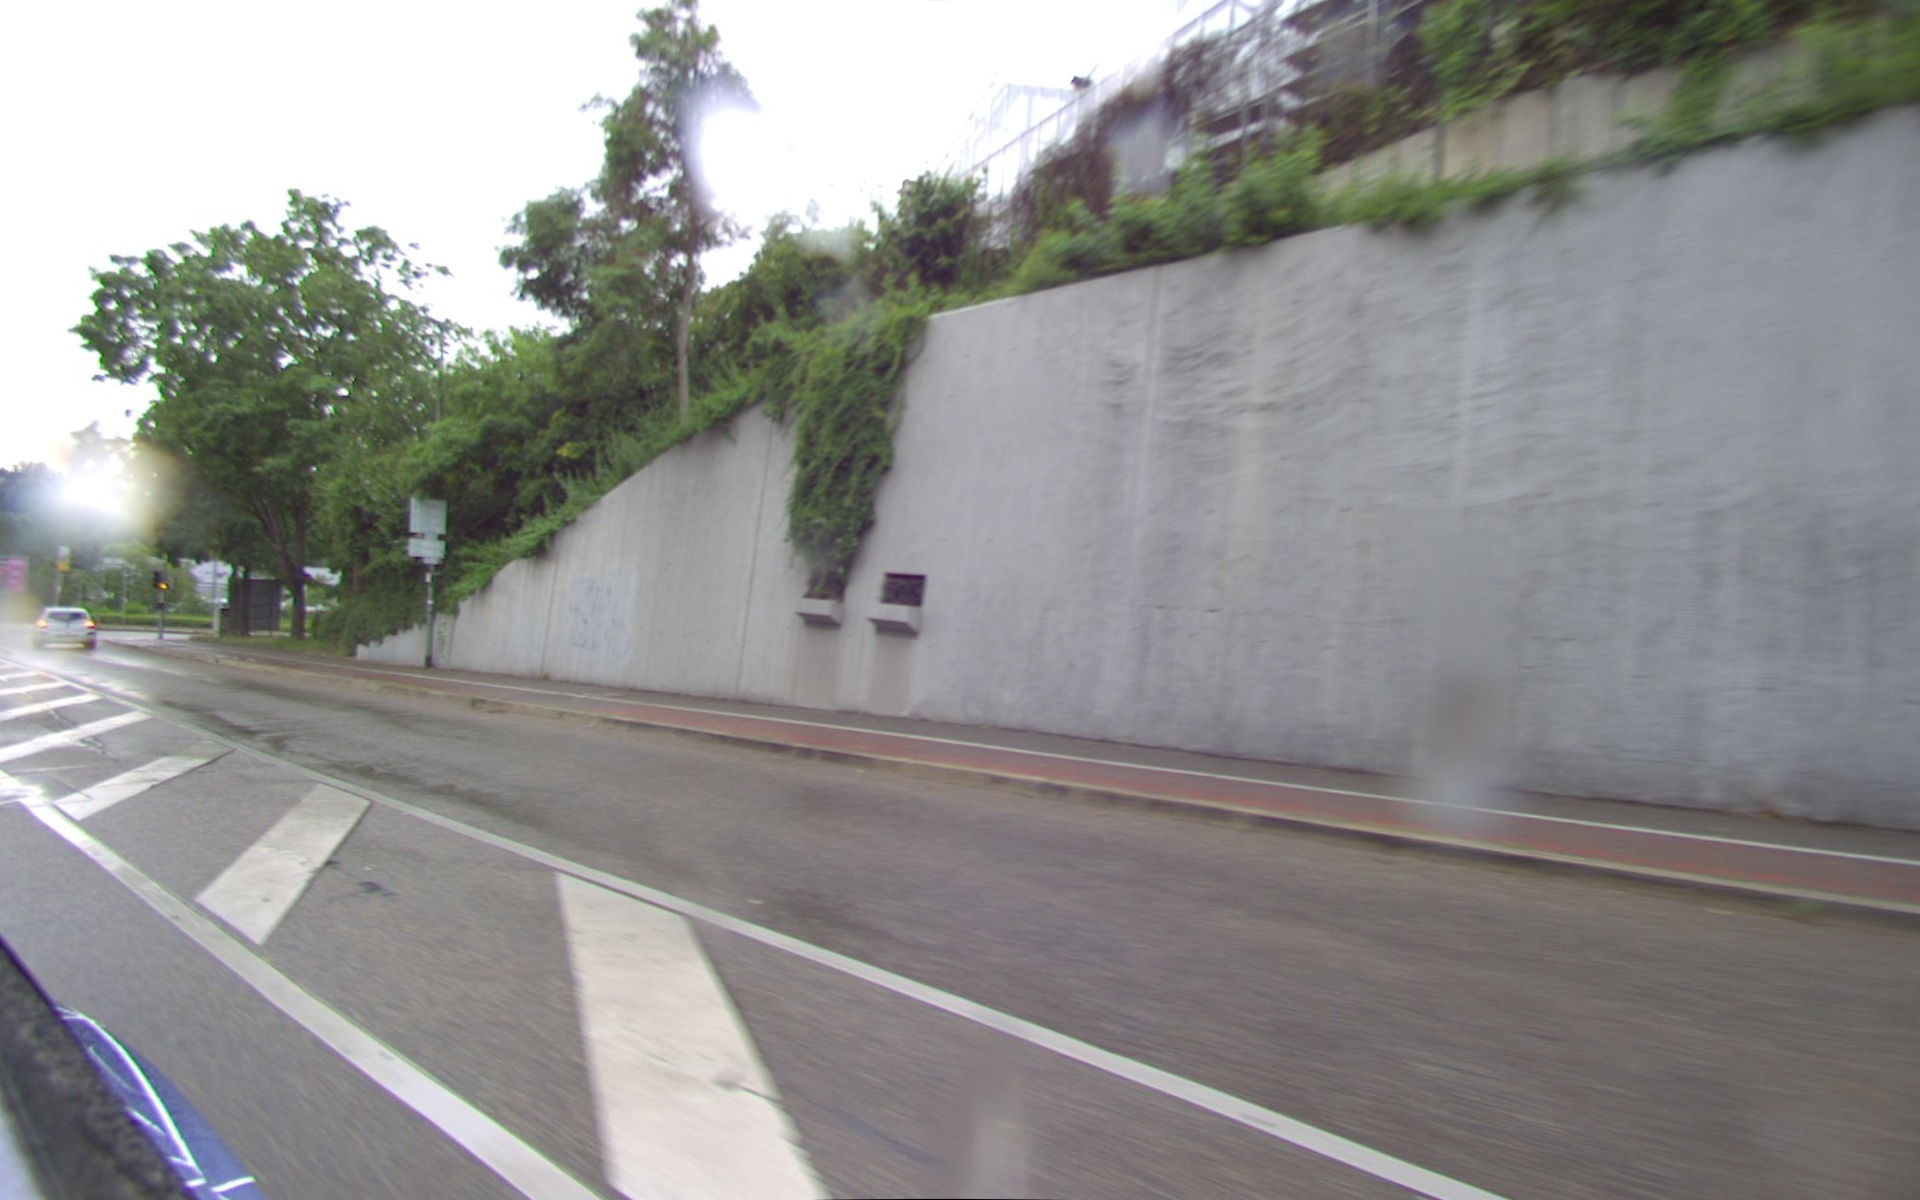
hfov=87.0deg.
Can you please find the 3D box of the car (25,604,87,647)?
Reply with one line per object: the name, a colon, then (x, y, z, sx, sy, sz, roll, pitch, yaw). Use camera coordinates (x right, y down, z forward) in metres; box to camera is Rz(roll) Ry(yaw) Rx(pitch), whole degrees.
car: (-33.047, 0.958, 37.063, 1.493, 1.459, 3.822, 4, -4, -40)
